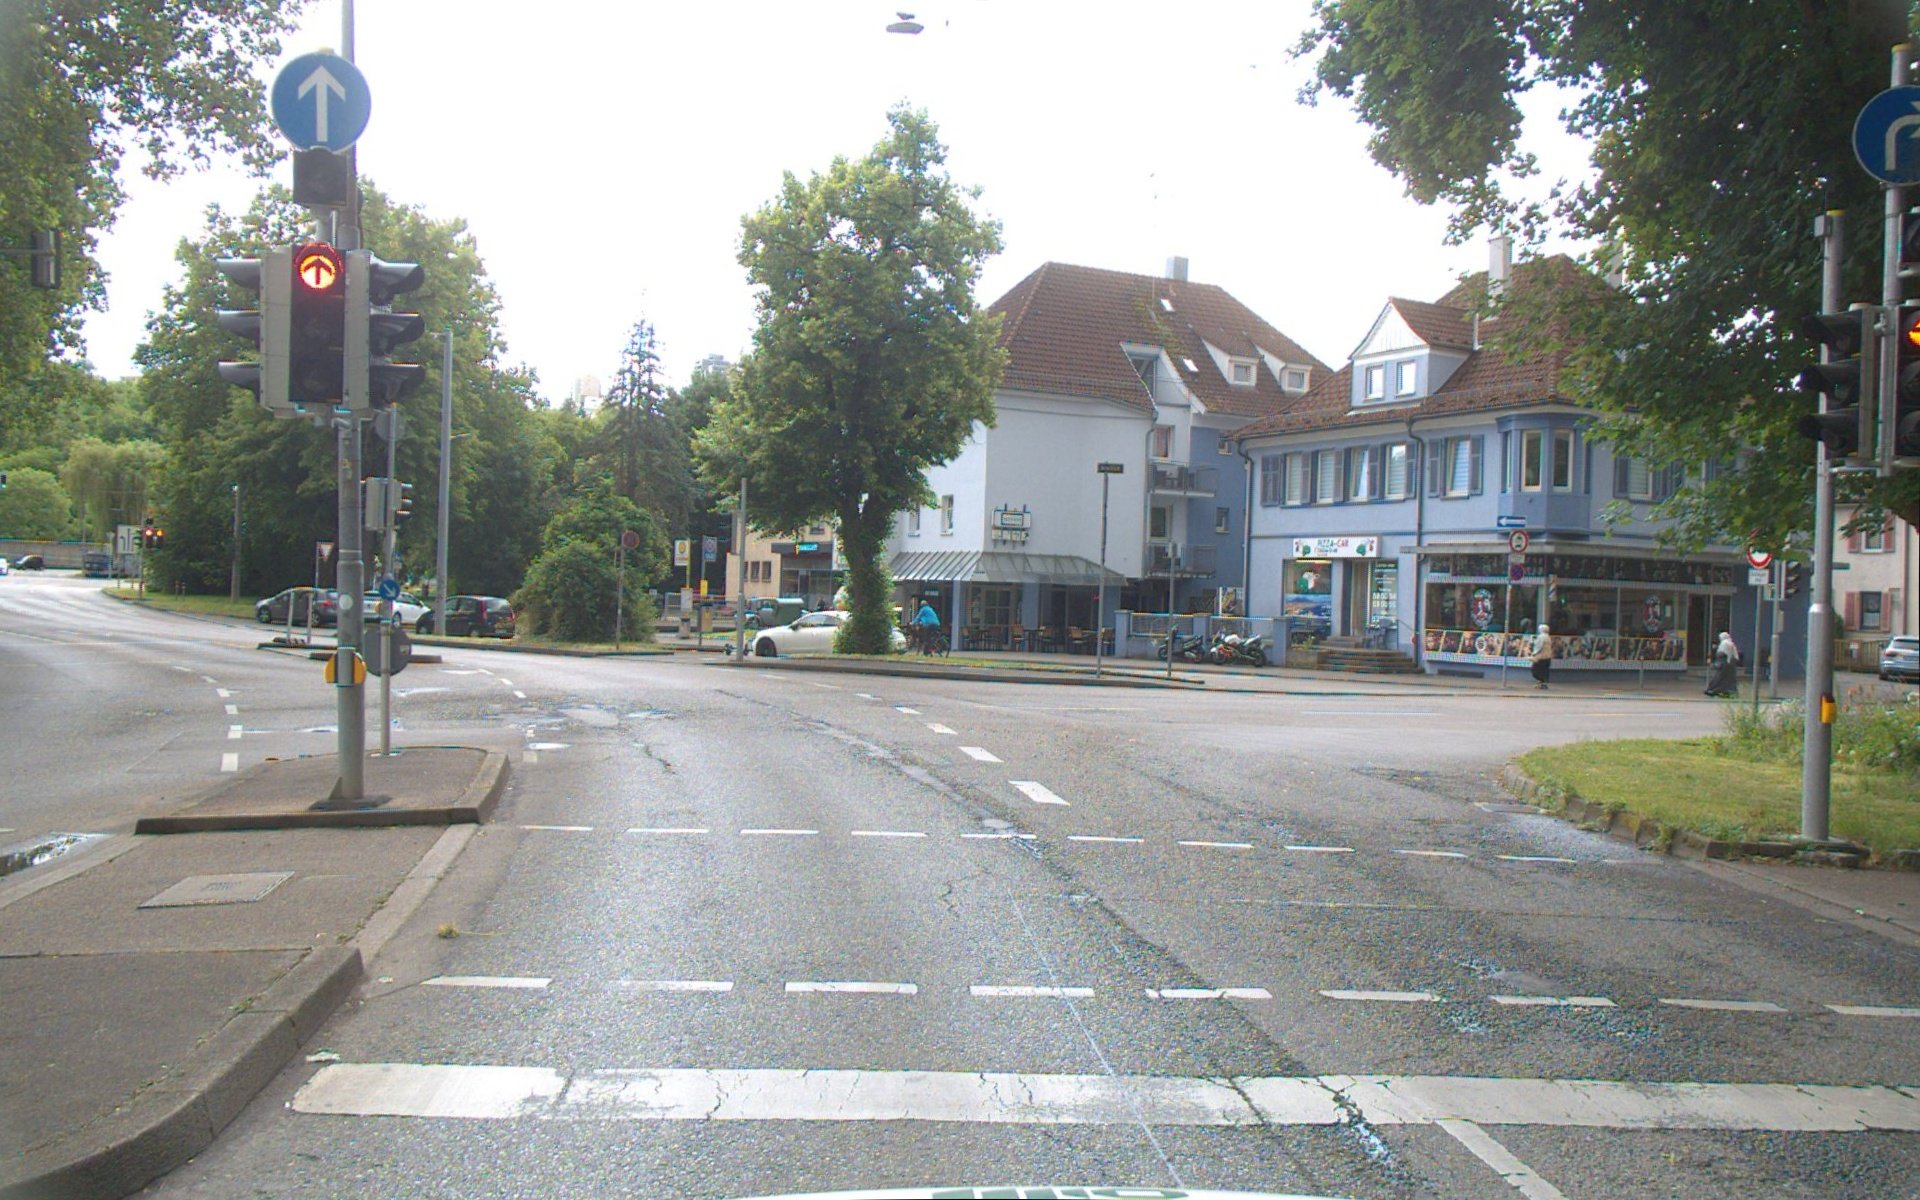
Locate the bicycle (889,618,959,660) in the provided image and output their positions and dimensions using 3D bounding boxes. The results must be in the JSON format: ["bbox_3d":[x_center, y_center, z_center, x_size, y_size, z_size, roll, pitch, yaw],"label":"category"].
[{"bbox_3d":[-1.089,1.150,49.280,1.912,1.169,0.874,1,0,33],"label":"bicycle"}]

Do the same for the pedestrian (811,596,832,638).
[{"bbox_3d":[-6.731,0.826,80.575,0.823,2.049,1.052,1,0,-15],"label":"pedestrian"}]

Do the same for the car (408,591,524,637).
[{"bbox_3d":[-15.914,0.448,53.263,3.252,1.376,1.778,1,0,27],"label":"car"}]

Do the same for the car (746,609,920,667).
[{"bbox_3d":[-3.532,1.023,45.683,4.618,1.435,1.896,1,0,35],"label":"car"}]

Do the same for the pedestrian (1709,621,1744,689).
[{"bbox_3d":[18.274,1.313,39.415,0.681,1.587,0.665,0,-1,30],"label":"pedestrian"}]

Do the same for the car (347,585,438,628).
[{"bbox_3d":[-22.732,0.260,66.404,1.821,1.668,3.757,1,0,10],"label":"car"}]

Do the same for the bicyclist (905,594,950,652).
[{"bbox_3d":[-0.967,0.680,49.222,0.968,1.680,0.915,1,0,34],"label":"bicyclist"}]

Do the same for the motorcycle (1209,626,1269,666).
[{"bbox_3d":[8.168,1.341,48.460,1.595,1.107,0.625,1,0,32],"label":"motorcycle"}]

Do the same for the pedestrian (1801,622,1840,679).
[{"bbox_3d":[24.059,1.409,46.247,0.659,1.587,0.743,1,-1,-15],"label":"pedestrian"}]

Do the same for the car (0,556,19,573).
[{"bbox_3d":[-88.809,-3.276,153.653,2.971,1.442,1.492,0,-2,41],"label":"car"}]

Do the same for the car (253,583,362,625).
[{"bbox_3d":[-25.007,0.154,63.421,3.695,1.491,1.622,1,0,18],"label":"car"}]

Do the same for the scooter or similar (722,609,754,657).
[{"bbox_3d":[-5.700,0.831,42.509,0.433,1.195,1.439,1,0,8],"label":"scooter or similar"}]

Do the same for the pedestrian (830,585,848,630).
[{"bbox_3d":[-4.316,0.271,59.098,0.531,1.587,0.468,0,-1,13],"label":"pedestrian"}]

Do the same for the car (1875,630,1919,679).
[{"bbox_3d":[29.698,1.690,51.690,1.849,1.415,3.608,1,0,28],"label":"car"}]

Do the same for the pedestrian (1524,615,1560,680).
[{"bbox_3d":[14.564,1.177,41.370,0.717,1.587,0.767,0,-1,30],"label":"pedestrian"}]

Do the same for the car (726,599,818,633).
[{"bbox_3d":[-8.581,0.734,75.480,3.880,1.467,1.742,1,0,-21],"label":"car"}]

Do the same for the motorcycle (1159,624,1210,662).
[{"bbox_3d":[6.814,1.289,50.210,1.430,1.107,0.522,1,0,35],"label":"motorcycle"}]
